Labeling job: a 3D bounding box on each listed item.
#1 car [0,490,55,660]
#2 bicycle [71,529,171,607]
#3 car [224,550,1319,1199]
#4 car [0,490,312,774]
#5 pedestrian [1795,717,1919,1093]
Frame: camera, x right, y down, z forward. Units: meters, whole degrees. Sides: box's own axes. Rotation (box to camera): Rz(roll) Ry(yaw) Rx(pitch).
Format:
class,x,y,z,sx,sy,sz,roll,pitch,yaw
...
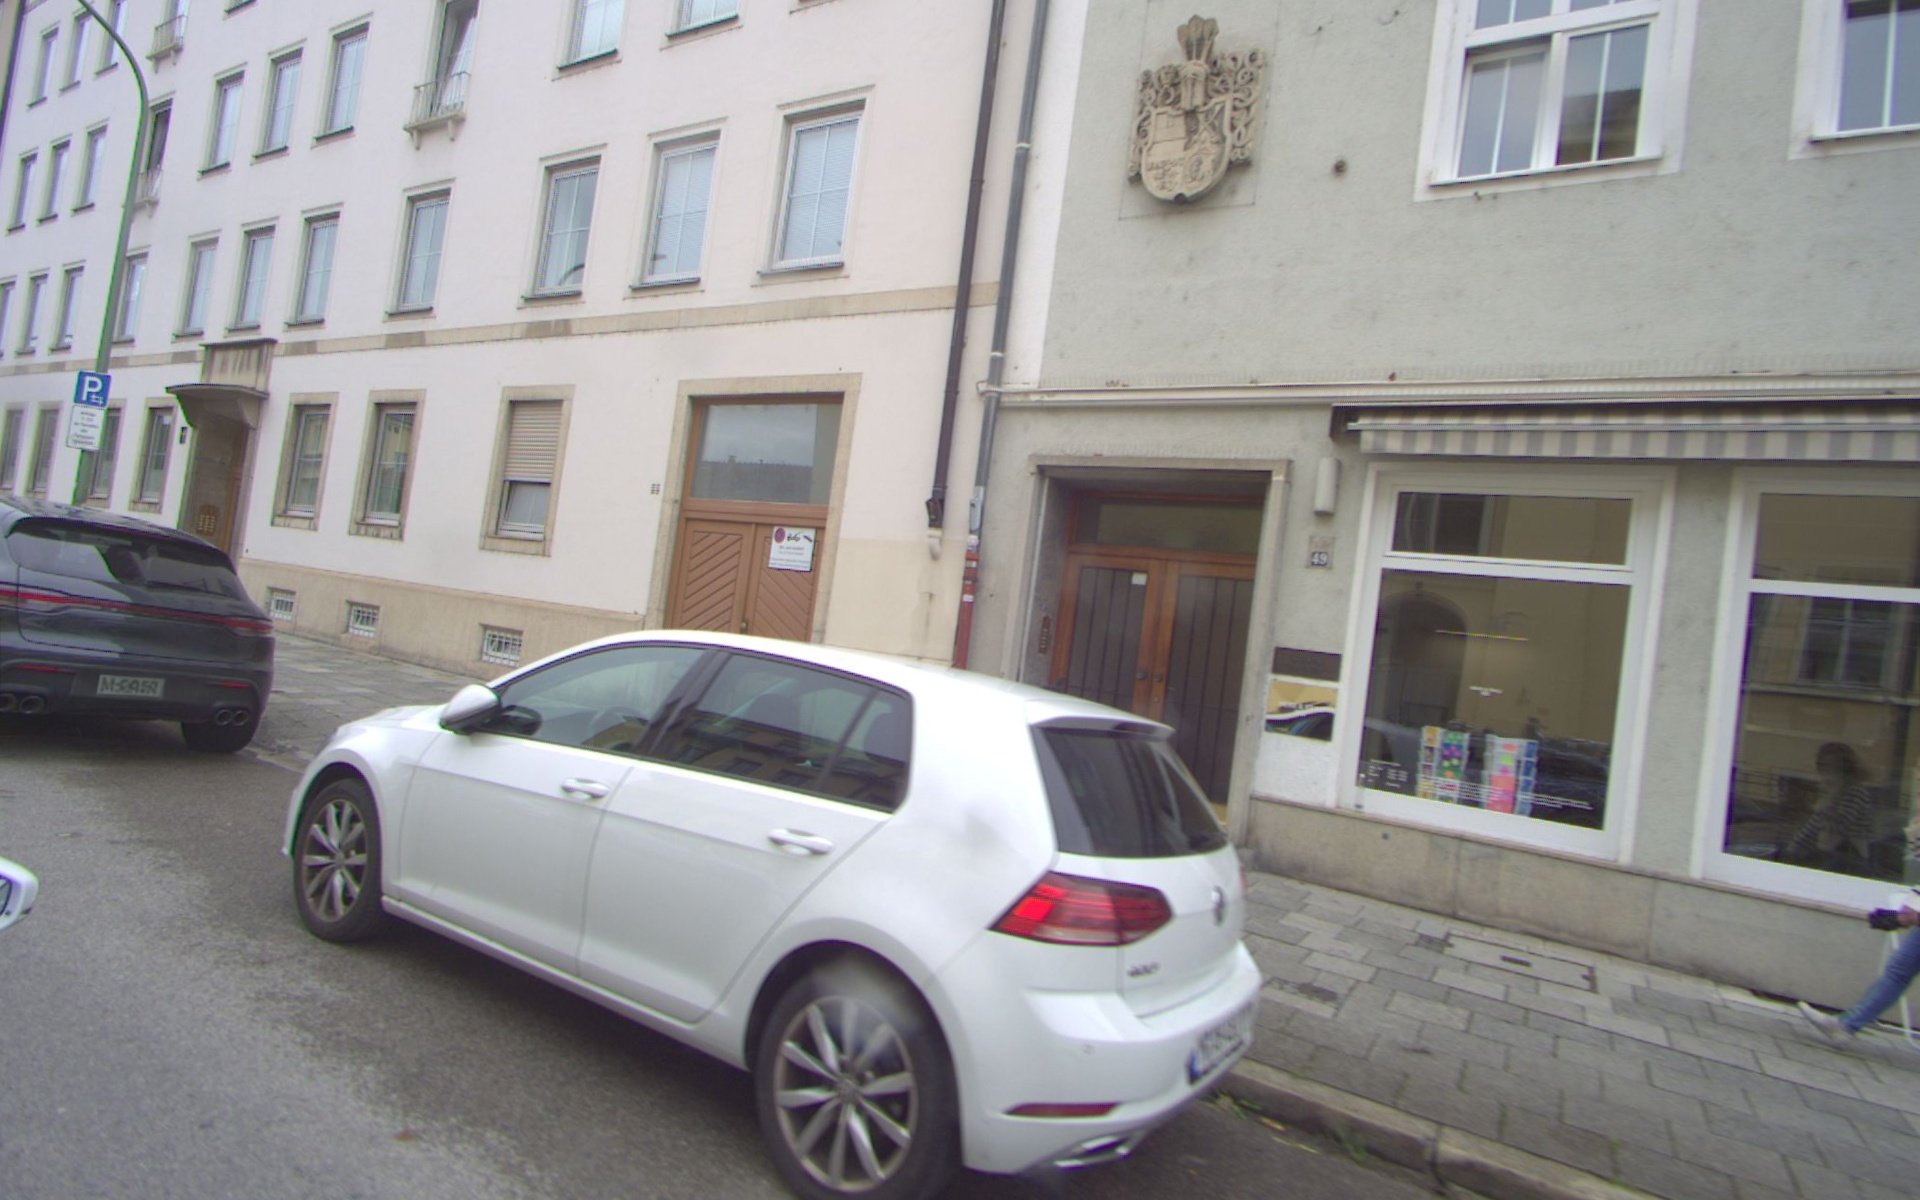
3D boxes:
class,x,y,z,sx,sy,sz,roll,pitch,yaw
car,-11.181,-0.498,10.214,4.201,1.603,1.781,7,-1,32
bicycle,-14.756,-0.570,17.672,1.994,1.140,0.660,6,-1,32
car,-0.917,0.830,3.983,4.016,1.478,1.698,6,-5,32
car,-6.883,0.082,7.424,4.259,1.601,1.783,7,-4,33
pedestrian,4.666,1.440,4.791,0.814,1.645,0.735,7,0,32
